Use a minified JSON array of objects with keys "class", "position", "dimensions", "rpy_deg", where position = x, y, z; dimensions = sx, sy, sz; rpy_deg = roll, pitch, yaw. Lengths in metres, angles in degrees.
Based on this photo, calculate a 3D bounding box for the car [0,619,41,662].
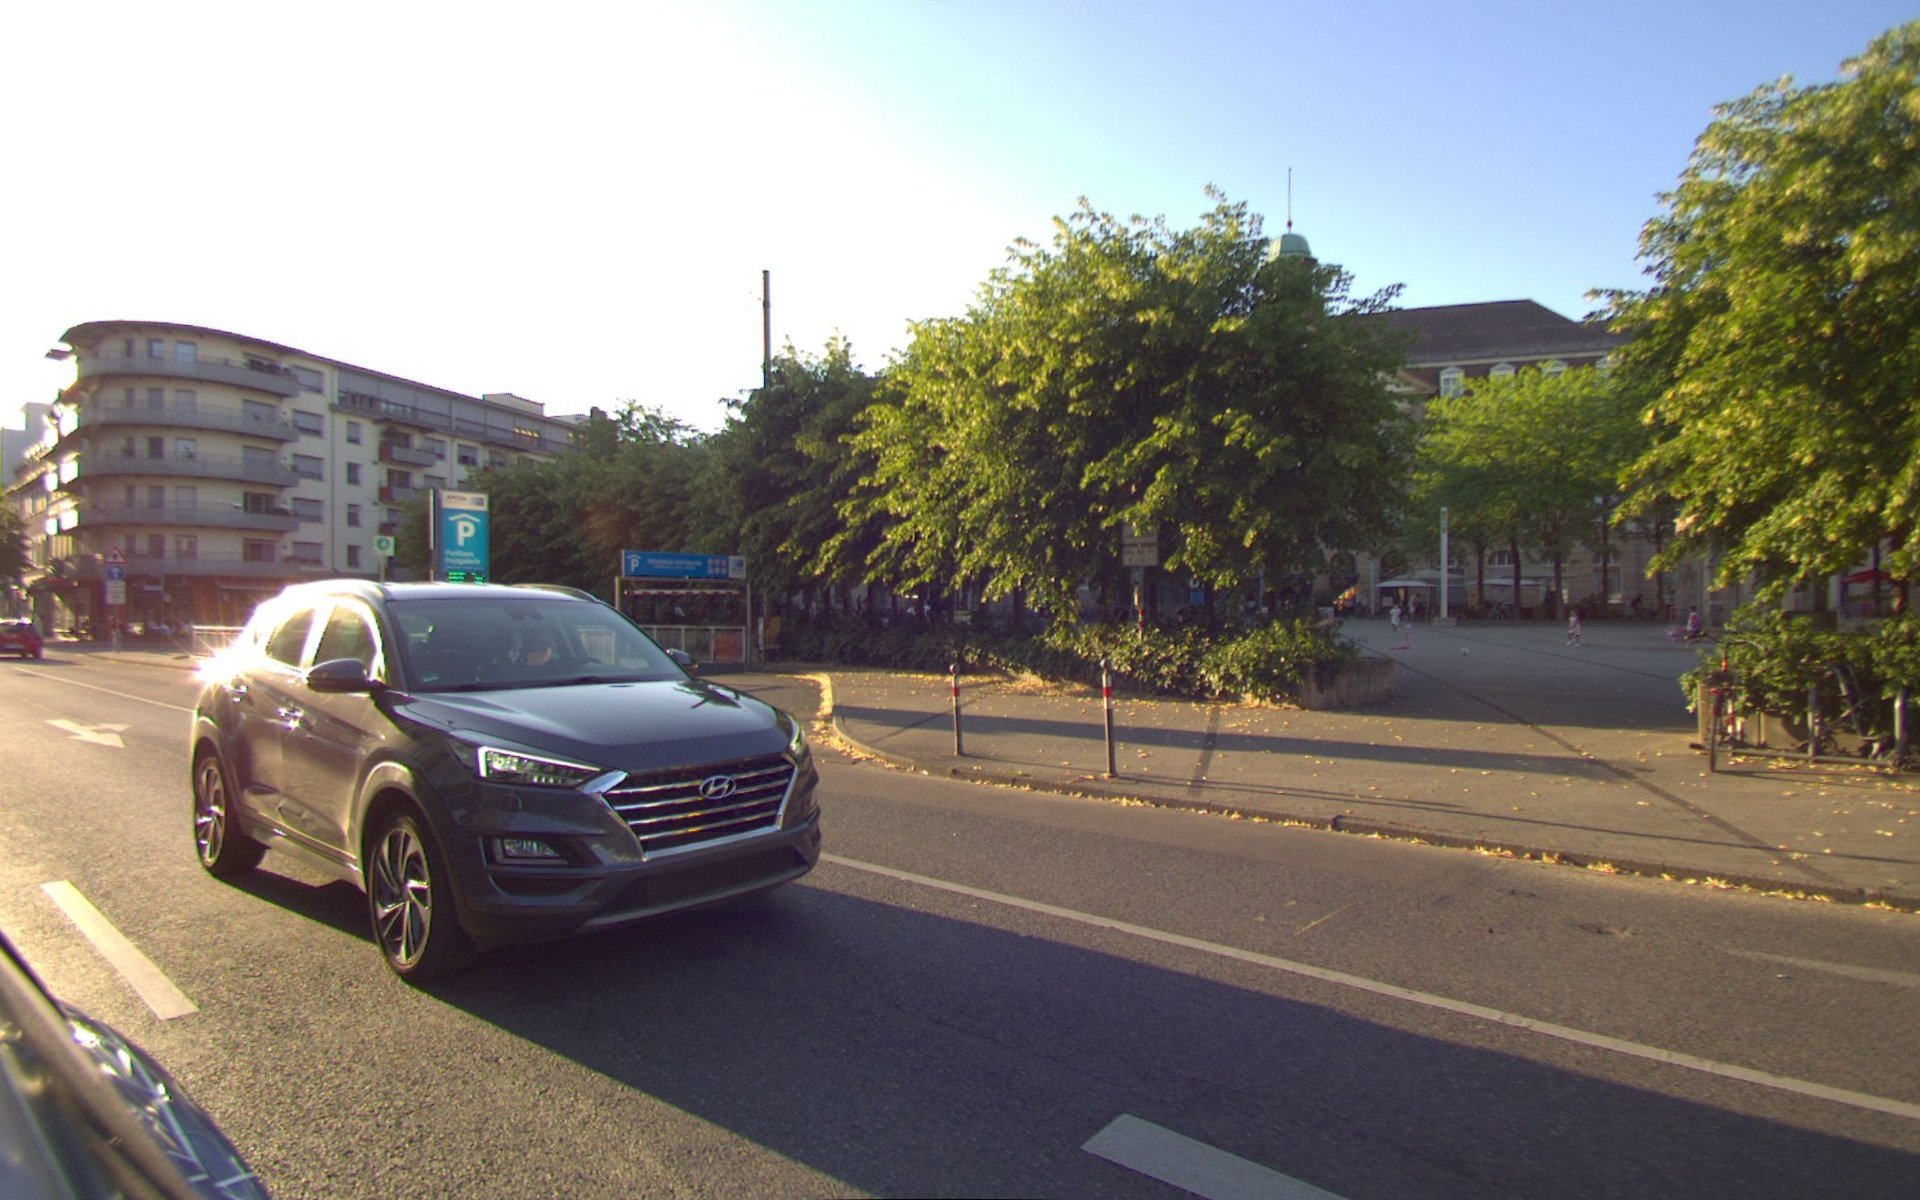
[{"class":"car","position":[-35.577,1.460,37.448],"dimensions":[3.954,1.477,1.767],"rpy_deg":[0,-1,40]}]

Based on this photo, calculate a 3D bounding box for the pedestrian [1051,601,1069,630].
[{"class":"pedestrian","position":[4.859,0.746,49.294],"dimensions":[0.651,1.386,0.656],"rpy_deg":[-1,0,27]}]

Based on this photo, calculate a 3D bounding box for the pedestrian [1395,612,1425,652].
[{"class":"pedestrian","position":[12.233,0.867,27.510],"dimensions":[0.454,1.071,0.531],"rpy_deg":[-2,-1,-29]}]

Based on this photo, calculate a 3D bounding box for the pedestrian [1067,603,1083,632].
[{"class":"pedestrian","position":[5.547,0.833,48.758],"dimensions":[0.651,1.386,0.515],"rpy_deg":[-1,0,27]}]

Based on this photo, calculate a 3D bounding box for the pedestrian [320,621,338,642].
[{"class":"pedestrian","position":[-40.997,2.039,65.783],"dimensions":[0.721,1.332,0.891],"rpy_deg":[-1,-1,-10]}]

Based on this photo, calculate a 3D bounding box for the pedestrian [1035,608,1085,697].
[{"class":"pedestrian","position":[2.340,1.215,23.681],"dimensions":[0.890,2.029,0.742],"rpy_deg":[0,-1,-22]}]

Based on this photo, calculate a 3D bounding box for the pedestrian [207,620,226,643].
[{"class":"pedestrian","position":[-43.433,1.847,59.098],"dimensions":[0.888,1.332,0.723],"rpy_deg":[-1,-1,40]}]

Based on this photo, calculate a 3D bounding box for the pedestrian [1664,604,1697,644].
[{"class":"pedestrian","position":[19.705,0.663,27.689],"dimensions":[0.454,1.071,0.531],"rpy_deg":[-2,-1,-20]}]

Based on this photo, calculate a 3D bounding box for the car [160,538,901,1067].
[{"class":"car","position":[-2.559,0.699,5.427],"dimensions":[4.446,1.702,1.853],"rpy_deg":[-1,-2,40]}]

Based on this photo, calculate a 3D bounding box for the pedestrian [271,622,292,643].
[{"class":"pedestrian","position":[-42.000,2.008,62.665],"dimensions":[0.884,1.332,0.726],"rpy_deg":[-1,-1,26]}]

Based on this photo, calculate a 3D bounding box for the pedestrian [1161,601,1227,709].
[{"class":"pedestrian","position":[4.551,1.048,19.708],"dimensions":[0.890,2.029,0.859],"rpy_deg":[0,-1,-22]}]

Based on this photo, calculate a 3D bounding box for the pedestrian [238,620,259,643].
[{"class":"pedestrian","position":[-42.432,1.892,60.346],"dimensions":[0.884,1.332,0.726],"rpy_deg":[-1,-1,28]}]

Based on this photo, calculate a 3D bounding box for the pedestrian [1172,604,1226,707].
[{"class":"pedestrian","position":[4.880,1.111,20.655],"dimensions":[0.852,2.029,0.898],"rpy_deg":[-1,-1,28]}]

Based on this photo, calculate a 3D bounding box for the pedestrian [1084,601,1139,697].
[{"class":"pedestrian","position":[3.279,1.040,21.958],"dimensions":[0.890,2.029,0.742],"rpy_deg":[0,-1,-22]}]

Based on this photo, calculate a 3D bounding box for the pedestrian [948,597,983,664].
[{"class":"pedestrian","position":[0.167,0.935,31.155],"dimensions":[0.736,2.029,0.897],"rpy_deg":[-1,-1,30]}]

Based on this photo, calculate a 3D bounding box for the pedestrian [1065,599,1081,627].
[{"class":"pedestrian","position":[5.746,0.672,51.341],"dimensions":[0.651,1.386,0.515],"rpy_deg":[-1,-1,27]}]

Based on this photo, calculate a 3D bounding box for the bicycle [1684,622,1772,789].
[{"class":"bicycle","position":[6.853,0.864,9.054],"dimensions":[0.548,1.262,2.006],"rpy_deg":[-1,0,37]}]

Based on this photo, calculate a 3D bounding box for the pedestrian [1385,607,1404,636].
[{"class":"pedestrian","position":[16.396,0.808,38.162],"dimensions":[0.528,1.071,0.457],"rpy_deg":[-3,-1,35]}]

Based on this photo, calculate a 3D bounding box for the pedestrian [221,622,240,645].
[{"class":"pedestrian","position":[-42.959,1.949,59.591],"dimensions":[0.888,1.332,0.723],"rpy_deg":[-1,-1,39]}]

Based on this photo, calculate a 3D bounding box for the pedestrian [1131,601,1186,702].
[{"class":"pedestrian","position":[4.118,1.040,20.984],"dimensions":[0.739,2.029,0.866],"rpy_deg":[-1,-1,43]}]

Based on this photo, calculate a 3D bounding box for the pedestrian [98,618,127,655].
[{"class":"pedestrian","position":[-35.467,1.518,42.346],"dimensions":[0.668,1.529,0.677],"rpy_deg":[-1,-1,-1]}]

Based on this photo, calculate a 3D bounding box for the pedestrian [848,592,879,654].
[{"class":"pedestrian","position":[-3.186,0.765,33.494],"dimensions":[0.733,2.029,0.901],"rpy_deg":[-1,-1,18]}]

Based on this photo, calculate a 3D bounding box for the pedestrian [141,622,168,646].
[{"class":"pedestrian","position":[-44.569,1.877,55.991],"dimensions":[0.726,1.332,0.885],"rpy_deg":[-1,-1,14]}]

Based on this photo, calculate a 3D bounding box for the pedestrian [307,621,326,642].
[{"class":"pedestrian","position":[-41.864,2.040,65.827],"dimensions":[0.721,1.332,0.891],"rpy_deg":[-1,-1,-10]}]

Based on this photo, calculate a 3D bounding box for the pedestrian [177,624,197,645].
[{"class":"pedestrian","position":[-43.737,1.951,57.287],"dimensions":[0.875,1.201,0.734],"rpy_deg":[0,-1,-39]}]

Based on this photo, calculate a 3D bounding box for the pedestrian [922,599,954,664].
[{"class":"pedestrian","position":[-0.699,0.984,32.016],"dimensions":[0.733,2.029,0.901],"rpy_deg":[-1,-1,18]}]

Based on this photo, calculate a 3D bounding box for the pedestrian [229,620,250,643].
[{"class":"pedestrian","position":[-43.517,1.906,61.141],"dimensions":[0.814,1.332,0.684],"rpy_deg":[-1,-1,17]}]

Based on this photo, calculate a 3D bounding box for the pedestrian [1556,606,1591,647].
[{"class":"pedestrian","position":[16.492,0.719,27.200],"dimensions":[0.454,1.071,0.589],"rpy_deg":[-2,-1,-20]}]

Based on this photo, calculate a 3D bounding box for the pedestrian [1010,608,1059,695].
[{"class":"pedestrian","position":[1.789,1.216,24.239],"dimensions":[0.890,2.029,0.742],"rpy_deg":[0,-1,-25]}]

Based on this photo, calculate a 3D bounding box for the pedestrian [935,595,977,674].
[{"class":"pedestrian","position":[-0.114,0.903,26.791],"dimensions":[0.890,2.029,0.742],"rpy_deg":[0,-1,-22]}]

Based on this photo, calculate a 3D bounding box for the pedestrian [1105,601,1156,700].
[{"class":"pedestrian","position":[3.585,1.044,21.277],"dimensions":[0.739,2.029,0.754],"rpy_deg":[-1,-1,43]}]

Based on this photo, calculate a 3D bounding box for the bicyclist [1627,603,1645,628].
[{"class":"bicyclist","position":[40.366,0.908,60.434],"dimensions":[0.764,1.459,0.637],"rpy_deg":[-1,0,18]}]

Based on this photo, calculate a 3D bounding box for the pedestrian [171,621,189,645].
[{"class":"pedestrian","position":[-44.529,1.879,57.778],"dimensions":[0.611,1.332,0.669],"rpy_deg":[-1,-1,40]}]

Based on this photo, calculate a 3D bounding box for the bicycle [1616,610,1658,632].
[{"class":"bicycle","position":[40.403,1.242,60.426],"dimensions":[2.013,1.270,0.577],"rpy_deg":[-1,0,18]}]

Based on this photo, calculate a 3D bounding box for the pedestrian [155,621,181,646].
[{"class":"pedestrian","position":[-43.669,1.841,55.783],"dimensions":[0.725,1.332,0.886],"rpy_deg":[-1,-1,10]}]
